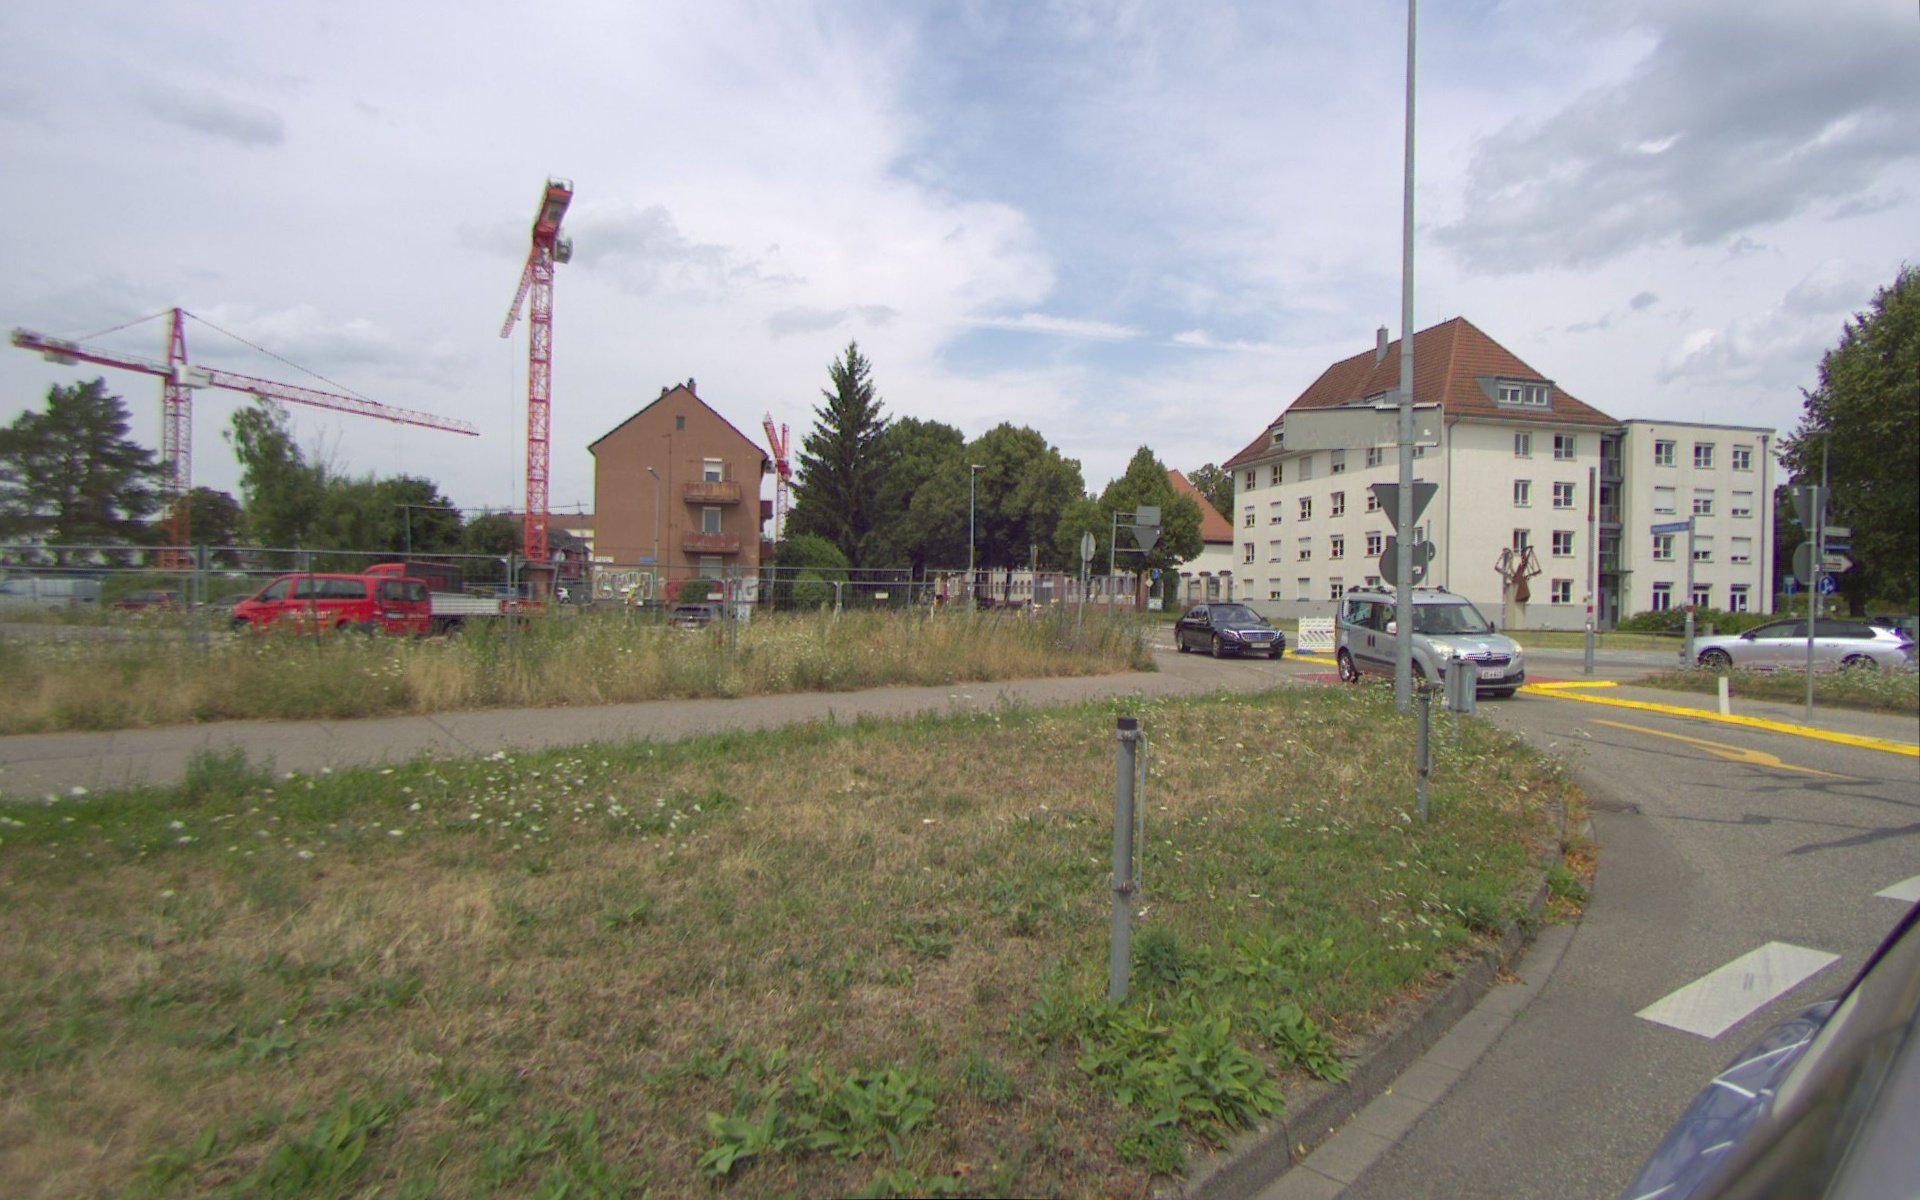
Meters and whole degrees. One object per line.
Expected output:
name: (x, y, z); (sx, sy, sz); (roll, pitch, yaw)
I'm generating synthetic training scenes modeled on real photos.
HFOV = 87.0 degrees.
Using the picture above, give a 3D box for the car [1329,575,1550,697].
car: (8.639, 0.568, 18.770); (1.776, 1.972, 4.586); (1, 0, -2)

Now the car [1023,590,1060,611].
car: (6.336, 0.008, 78.856); (1.595, 1.538, 4.227); (1, 0, -13)

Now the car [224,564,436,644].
car: (-16.269, 0.112, 26.159); (4.922, 1.935, 1.925); (1, -2, 18)

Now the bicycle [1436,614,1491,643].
bicycle: (19.029, 1.057, 38.262); (1.792, 1.059, 0.602); (1, 0, -6)

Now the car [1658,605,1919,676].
car: (20.394, 0.908, 24.755); (1.965, 1.501, 5.175); (0, 0, -41)

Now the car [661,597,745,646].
car: (-8.551, 0.686, 34.008); (1.734, 1.492, 4.259); (1, 1, 0)

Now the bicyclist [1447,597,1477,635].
bicyclist: (18.989, 0.595, 38.266); (0.787, 1.441, 0.602); (1, 0, -6)

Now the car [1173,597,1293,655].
car: (7.800, 0.705, 29.425); (1.782, 1.523, 4.874); (0, 0, -5)

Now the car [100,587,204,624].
car: (-39.968, 0.252, 50.105); (3.946, 1.771, 1.853); (1, 0, 8)

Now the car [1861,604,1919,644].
car: (44.352, 1.111, 46.160); (1.958, 1.786, 4.510); (0, 1, -14)

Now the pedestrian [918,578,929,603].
pedestrian: (-3.078, -0.803, 85.649); (0.838, 2.039, 0.733); (1, 0, -11)

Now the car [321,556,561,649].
car: (-14.764, 0.005, 28.777); (6.459, 2.443, 2.304); (1, 0, 20)

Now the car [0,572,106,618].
car: (-45.541, -0.257, 50.074); (4.817, 2.163, 2.147); (1, 0, 0)
